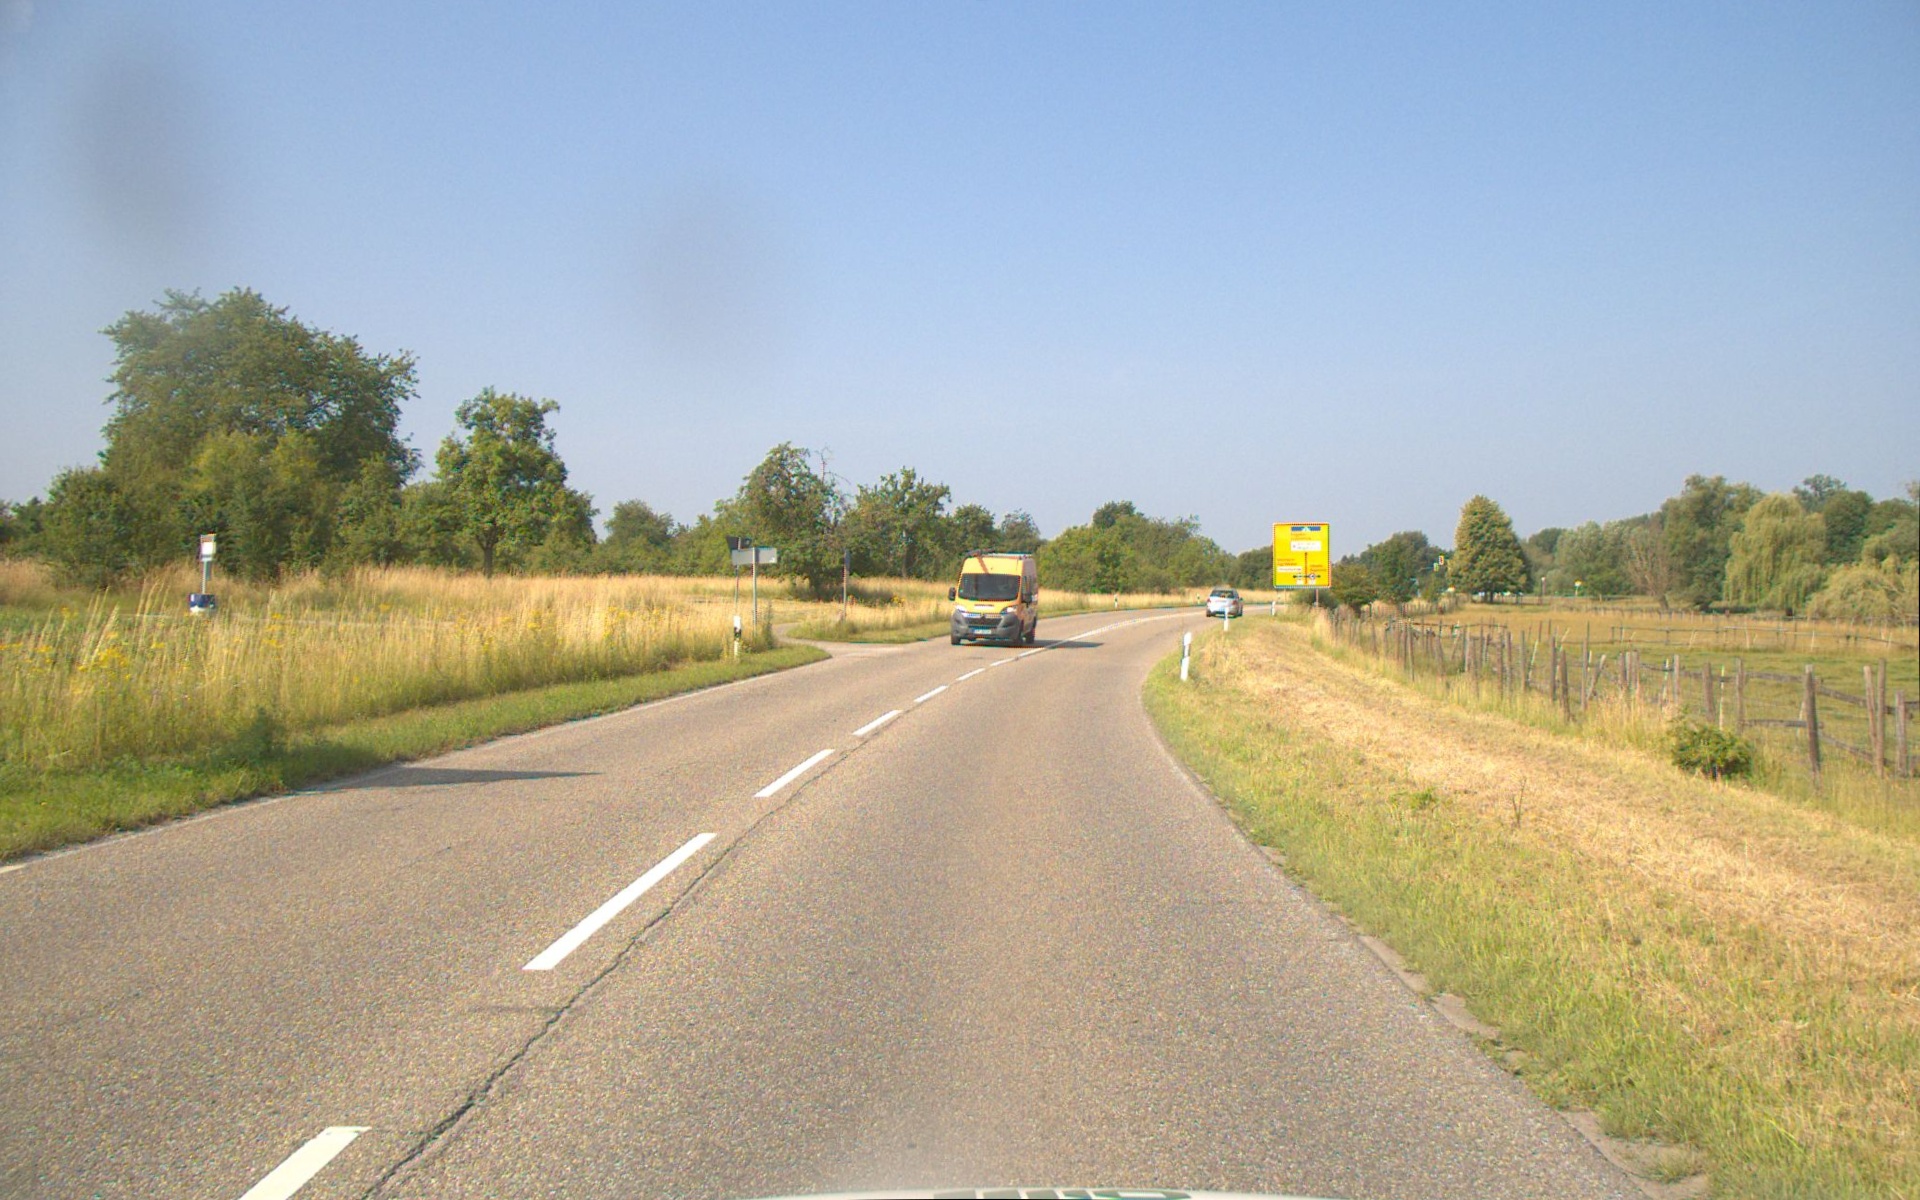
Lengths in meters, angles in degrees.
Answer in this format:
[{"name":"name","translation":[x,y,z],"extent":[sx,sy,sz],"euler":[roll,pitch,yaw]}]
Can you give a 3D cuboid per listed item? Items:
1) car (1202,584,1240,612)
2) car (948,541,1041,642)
[{"name":"car","translation":[15.040,-0.103,95.286],"extent":[1.859,1.538,4.003],"euler":[2,0,13]},{"name":"car","translation":[1.081,-0.246,48.251],"extent":[2.078,2.743,5.272],"euler":[1,0,8]}]
